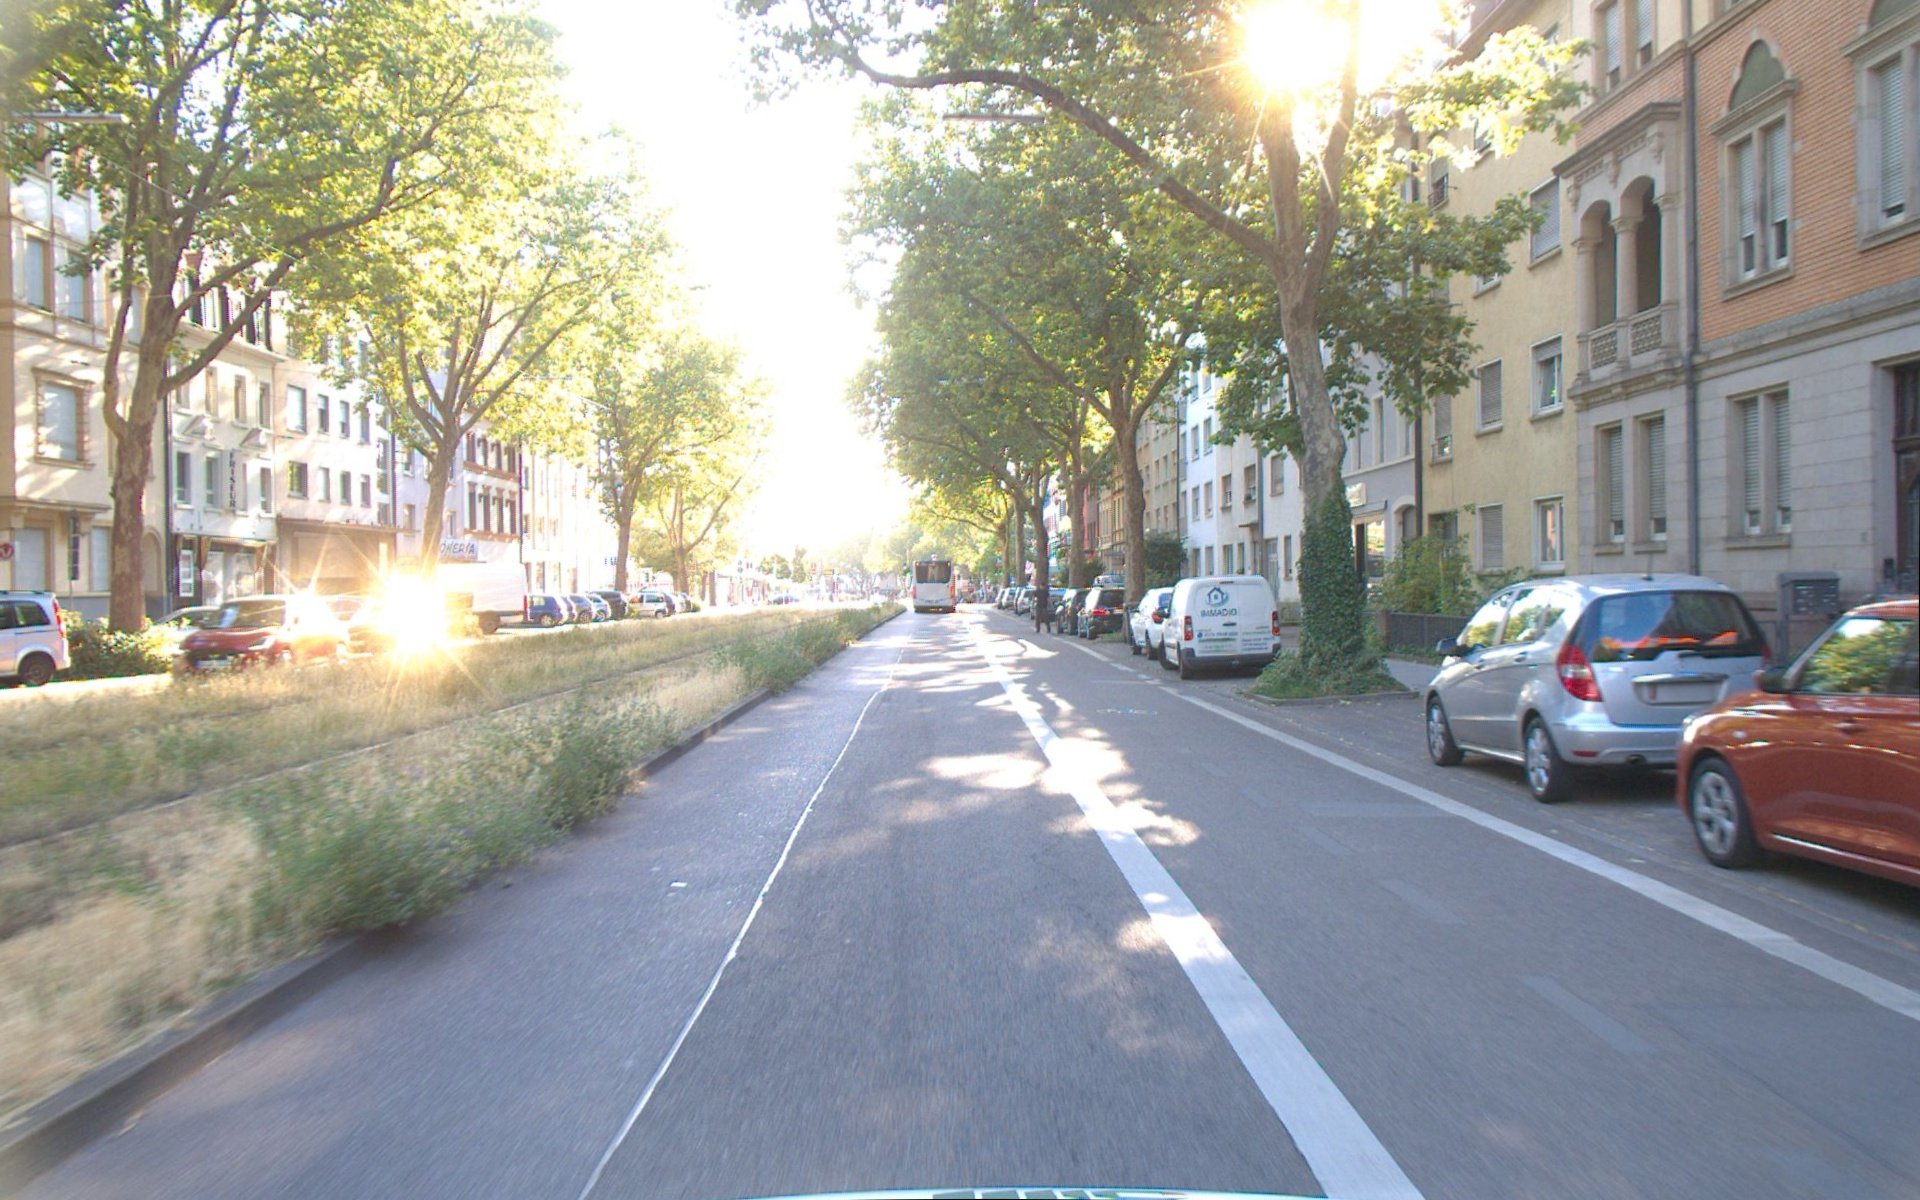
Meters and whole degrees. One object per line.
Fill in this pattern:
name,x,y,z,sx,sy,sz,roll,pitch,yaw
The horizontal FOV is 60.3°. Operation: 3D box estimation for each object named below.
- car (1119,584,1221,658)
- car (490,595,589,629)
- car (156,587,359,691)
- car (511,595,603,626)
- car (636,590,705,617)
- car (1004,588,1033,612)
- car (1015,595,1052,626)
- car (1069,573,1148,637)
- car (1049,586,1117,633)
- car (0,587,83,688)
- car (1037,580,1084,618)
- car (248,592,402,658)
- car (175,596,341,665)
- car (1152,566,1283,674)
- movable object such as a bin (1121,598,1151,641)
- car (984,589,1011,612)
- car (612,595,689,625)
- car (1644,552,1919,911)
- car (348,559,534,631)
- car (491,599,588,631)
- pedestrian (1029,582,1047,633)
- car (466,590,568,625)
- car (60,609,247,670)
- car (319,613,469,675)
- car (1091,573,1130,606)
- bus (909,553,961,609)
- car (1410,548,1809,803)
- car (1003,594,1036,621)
car,4.612,0.427,36.795,1.612,1.512,3.999,-1,0,-2
car,-19.723,0.553,77.566,4.241,1.483,1.845,-1,0,-24
car,-11.765,0.604,27.994,1.753,1.601,3.999,-1,0,-1
car,-20.531,0.519,84.348,4.275,1.483,1.830,-1,-1,-42
car,-19.404,0.211,110.904,4.275,1.768,1.830,-1,-1,-42
car,3.942,-0.012,112.793,1.745,1.542,3.999,-1,0,-1
car,3.977,0.555,90.205,1.745,1.542,3.999,-1,0,-1
car,4.382,0.154,49.466,1.709,1.801,4.986,-1,0,-2
car,4.158,0.332,56.487,1.653,1.512,3.995,-1,0,-5
car,-19.336,0.738,31.852,3.969,1.915,1.968,0,-1,-44
car,4.381,-0.061,72.487,1.745,1.542,3.999,-1,0,-1
car,-18.916,0.730,49.297,3.951,1.728,1.835,-3,1,-33
car,-19.477,0.811,45.910,3.951,1.580,1.835,-4,2,-33
car,4.637,0.355,30.384,1.708,1.801,4.394,-1,0,0
movable object such as a bin,4.629,0.507,43.607,0.660,1.064,0.879,-1,2,-1
car,2.717,0.034,119.354,1.745,1.542,3.999,-1,0,-1
car,-18.769,0.605,100.415,4.275,1.768,1.830,-1,-1,-42
car,5.188,0.571,8.034,1.953,1.587,3.978,-1,0,-2
car,-20.387,-0.198,65.005,6.841,2.725,2.171,-1,-1,-22
car,-20.614,0.734,81.112,4.275,1.483,1.830,-1,-1,-42
pedestrian,2.779,0.255,58.876,0.565,1.811,0.514,-1,0,-1
car,-19.986,0.345,74.763,4.216,1.483,1.856,-1,0,-7
car,-19.678,0.941,40.399,3.950,1.380,1.568,-1,-1,-33
car,-14.755,1.115,43.419,1.708,1.485,4.929,-1,0,7
car,8.870,-0.589,97.730,1.845,1.892,4.324,-1,0,-1
bus,-1.620,-1.118,102.155,2.777,3.292,8.176,-1,0,-4
car,4.972,0.530,13.257,1.708,1.720,3.852,-1,0,1
car,3.538,0.431,98.403,1.745,1.542,3.999,-1,0,-1
